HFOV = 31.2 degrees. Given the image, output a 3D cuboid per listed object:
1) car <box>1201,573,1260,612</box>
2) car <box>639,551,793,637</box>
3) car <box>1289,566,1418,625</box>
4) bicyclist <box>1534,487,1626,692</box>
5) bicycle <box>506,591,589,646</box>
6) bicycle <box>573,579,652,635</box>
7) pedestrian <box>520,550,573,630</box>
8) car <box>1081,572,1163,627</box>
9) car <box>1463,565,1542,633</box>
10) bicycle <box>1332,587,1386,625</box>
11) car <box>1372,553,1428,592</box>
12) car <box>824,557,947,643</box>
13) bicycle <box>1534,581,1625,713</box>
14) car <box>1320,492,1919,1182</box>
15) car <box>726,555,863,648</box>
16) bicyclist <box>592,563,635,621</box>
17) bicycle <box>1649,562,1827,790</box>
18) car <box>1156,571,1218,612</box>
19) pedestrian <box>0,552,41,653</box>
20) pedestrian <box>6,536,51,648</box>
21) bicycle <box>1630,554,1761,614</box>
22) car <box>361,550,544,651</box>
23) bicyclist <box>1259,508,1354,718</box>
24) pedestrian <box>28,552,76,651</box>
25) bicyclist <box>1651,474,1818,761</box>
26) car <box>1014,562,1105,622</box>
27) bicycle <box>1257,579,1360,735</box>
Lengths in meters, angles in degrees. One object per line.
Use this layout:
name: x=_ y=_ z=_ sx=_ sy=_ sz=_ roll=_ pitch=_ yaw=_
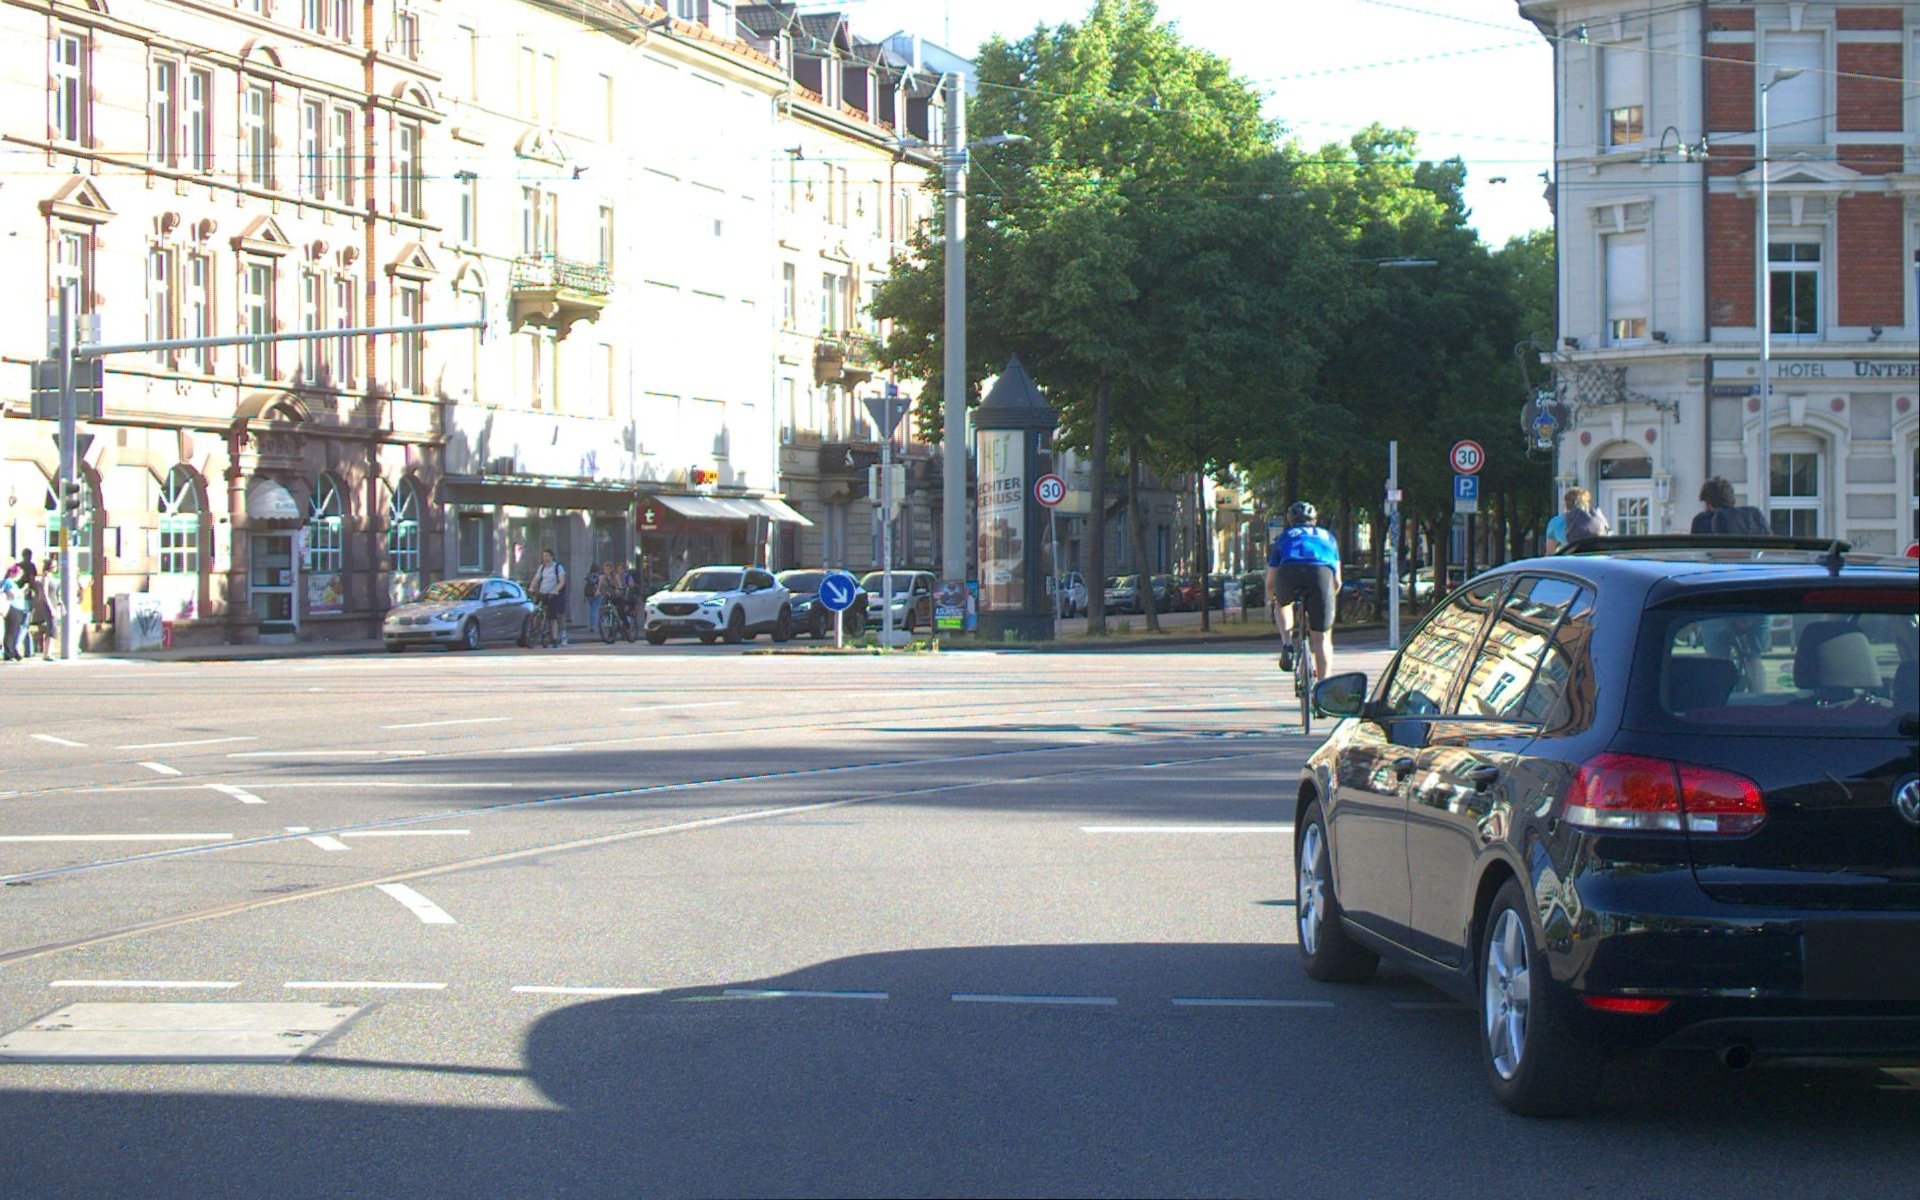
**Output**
car: x=10.714 y=-0.311 z=136.056 sx=1.560 sy=1.508 sz=3.653 roll=1 pitch=1 yaw=17
car: x=-4.749 y=-0.134 z=67.405 sx=1.994 sy=1.612 sz=3.998 roll=1 pitch=1 yaw=11
car: x=13.155 y=-0.163 z=114.975 sx=3.990 sy=1.897 sz=1.998 roll=1 pitch=0 yaw=16
bicyclist: x=5.035 y=-0.092 z=27.899 sx=0.690 sy=1.627 sz=0.883 roll=1 pitch=0 yaw=12
bicycle: x=-7.824 y=0.338 z=65.290 sx=0.763 sy=1.004 sz=2.395 roll=1 pitch=1 yaw=13
bicycle: x=-7.096 y=0.137 z=70.319 sx=0.651 sy=1.119 sz=2.250 roll=1 pitch=1 yaw=21
pedestrian: x=-7.838 y=-0.189 z=65.210 sx=0.821 sy=1.507 sz=0.598 roll=1 pitch=0 yaw=15
car: x=5.791 y=-0.045 z=122.576 sx=1.995 sy=1.897 sz=3.997 roll=1 pitch=1 yaw=17
car: x=13.060 y=-0.042 z=82.594 sx=1.692 sy=1.559 sz=3.839 roll=1 pitch=1 yaw=11
bicycle: x=11.499 y=0.170 z=99.072 sx=0.626 sy=1.081 sz=1.703 roll=1 pitch=1 yaw=-31
car: x=17.255 y=-1.066 z=134.641 sx=1.560 sy=1.508 sz=3.653 roll=1 pitch=1 yaw=17
car: x=-1.688 y=-0.015 z=79.524 sx=1.994 sy=1.897 sz=3.998 roll=1 pitch=1 yaw=11
bicycle: x=5.066 y=0.365 z=28.053 sx=0.650 sy=1.028 sz=1.770 roll=1 pitch=1 yaw=13
car: x=2.138 y=0.481 z=9.797 sx=1.728 sy=1.502 sz=4.051 roll=1 pitch=2 yaw=-1
car: x=-3.505 y=0.020 z=73.550 sx=1.994 sy=1.897 sz=3.998 roll=1 pitch=1 yaw=11
bicyclist: x=-7.084 y=-0.169 z=70.341 sx=0.632 sy=1.181 sz=0.684 roll=1 pitch=0 yaw=21
bicycle: x=4.423 y=0.408 z=19.641 sx=0.755 sy=1.232 sz=1.702 roll=1 pitch=1 yaw=5
car: x=8.716 y=-0.335 z=131.923 sx=1.560 sy=1.508 sz=3.653 roll=1 pitch=1 yaw=17
pedestrian: x=-15.341 y=0.040 z=55.908 sx=0.633 sy=1.628 sz=0.701 roll=1 pitch=0 yaw=-4
pedestrian: x=-15.724 y=-0.140 z=58.029 sx=0.633 sy=1.875 sz=0.465 roll=1 pitch=0 yaw=-4
bicycle: x=12.205 y=-0.266 z=57.103 sx=2.049 sy=0.994 sz=0.630 roll=0 pitch=0 yaw=3
car: x=-9.865 y=-0.005 z=67.123 sx=1.995 sy=1.897 sz=3.997 roll=1 pitch=1 yaw=17
bicyclist: x=2.527 y=0.080 z=25.152 sx=0.639 sy=1.489 sz=0.883 roll=1 pitch=2 yaw=4
pedestrian: x=-15.122 y=0.023 z=57.265 sx=0.633 sy=1.628 sz=0.701 roll=1 pitch=0 yaw=-4
bicyclist: x=4.440 y=0.095 z=19.764 sx=0.806 sy=1.601 sz=0.883 roll=1 pitch=0 yaw=5
car: x=3.275 y=-0.277 z=112.705 sx=1.995 sy=1.897 sz=3.997 roll=1 pitch=1 yaw=17
bicycle: x=2.514 y=0.395 z=24.948 sx=0.626 sy=1.081 sz=1.703 roll=1 pitch=1 yaw=2
